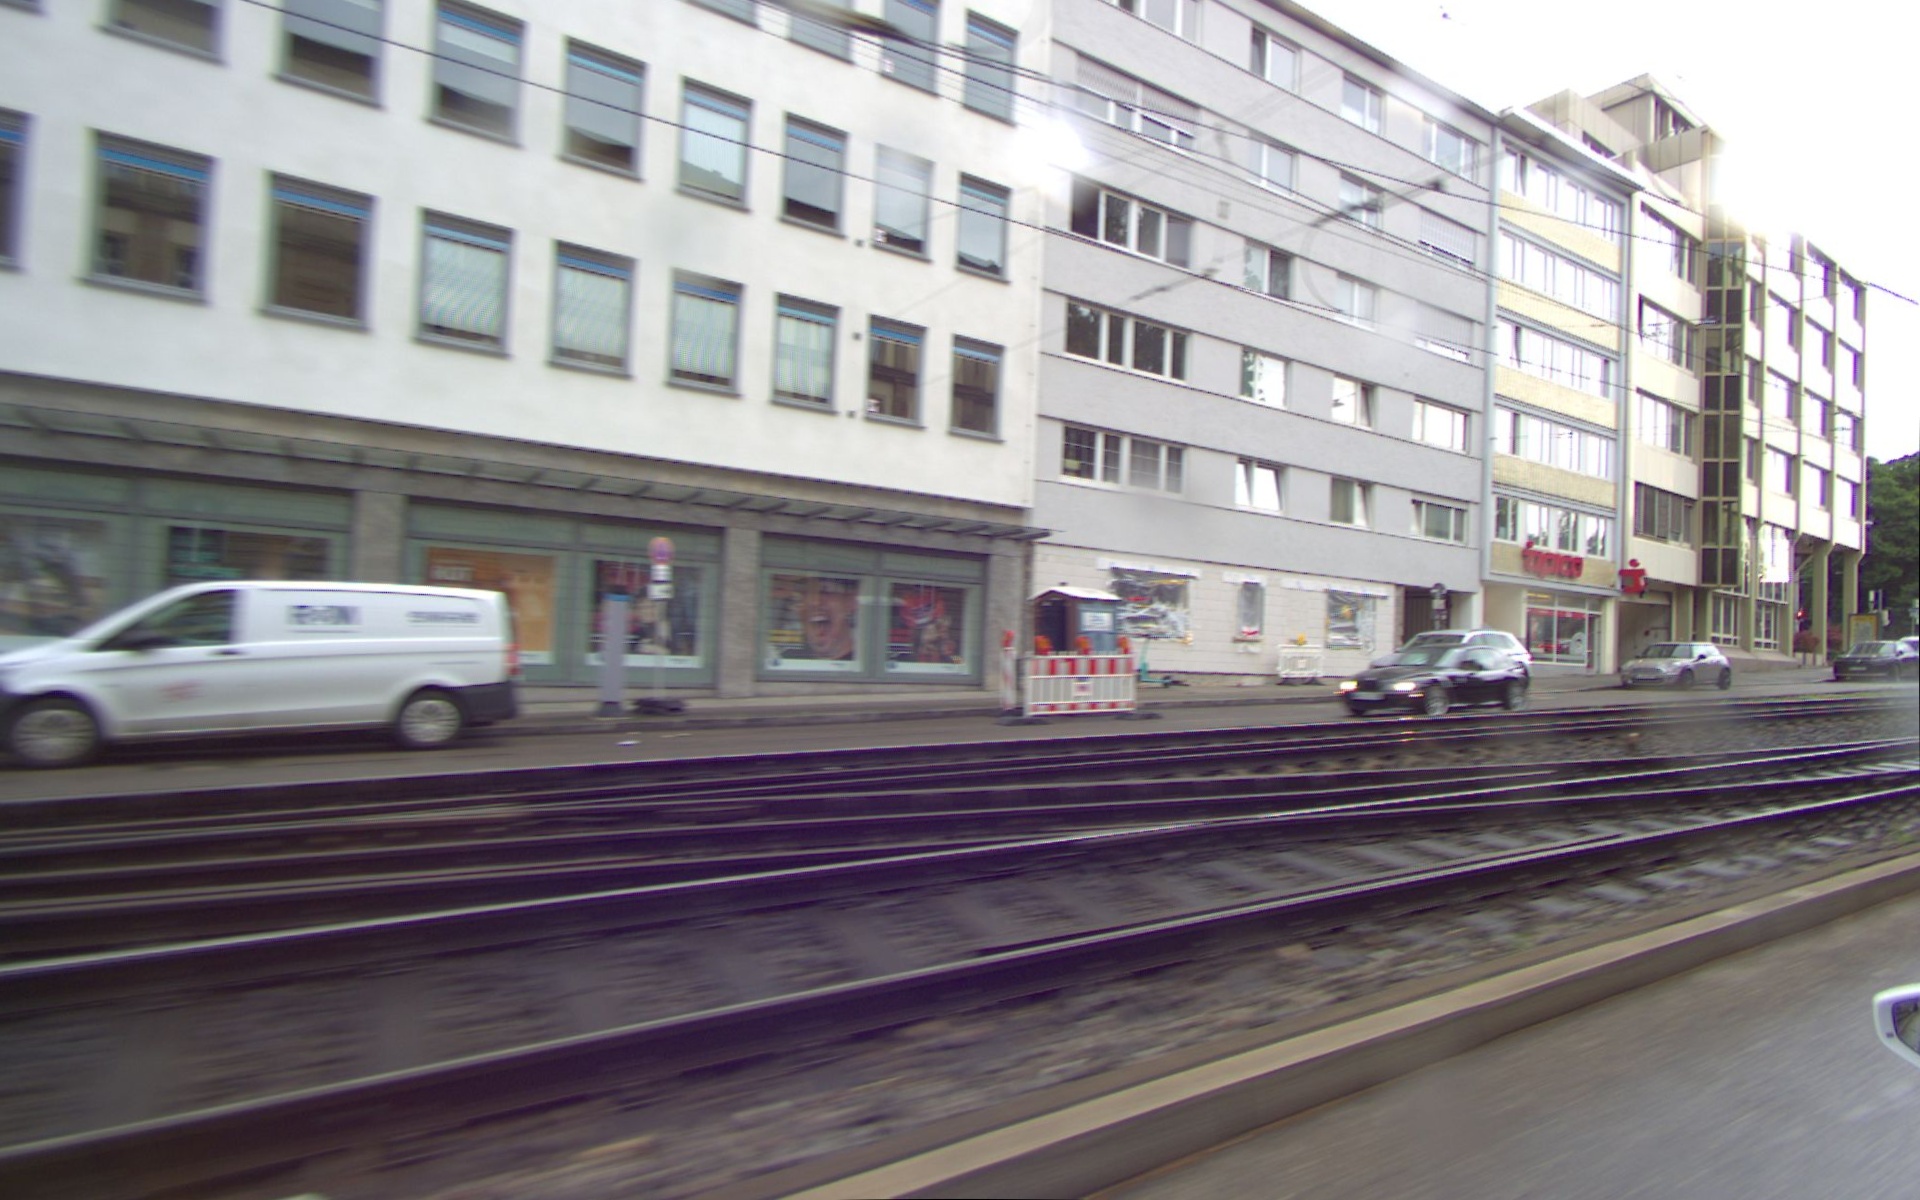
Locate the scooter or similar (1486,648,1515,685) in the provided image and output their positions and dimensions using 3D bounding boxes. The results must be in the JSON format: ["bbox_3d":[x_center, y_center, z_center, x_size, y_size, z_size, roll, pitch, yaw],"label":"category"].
[{"bbox_3d":[16.643,2.041,30.943,0.963,1.046,0.378,-1,1,-33],"label":"scooter or similar"}]

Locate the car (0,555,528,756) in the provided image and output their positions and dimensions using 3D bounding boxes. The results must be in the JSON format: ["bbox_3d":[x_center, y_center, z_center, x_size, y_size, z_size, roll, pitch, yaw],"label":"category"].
[{"bbox_3d":[-7.805,0.671,11.330,5.079,1.866,1.982,3,-5,-34],"label":"car"}]

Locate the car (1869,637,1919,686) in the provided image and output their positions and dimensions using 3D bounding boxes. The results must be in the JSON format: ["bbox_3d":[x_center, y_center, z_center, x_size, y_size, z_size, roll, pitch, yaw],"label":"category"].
[{"bbox_3d":[39.667,2.564,41.552,4.647,1.874,1.981,3,-1,-34],"label":"car"}]

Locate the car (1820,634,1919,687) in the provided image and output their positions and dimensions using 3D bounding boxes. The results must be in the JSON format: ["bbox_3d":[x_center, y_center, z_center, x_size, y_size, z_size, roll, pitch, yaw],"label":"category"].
[{"bbox_3d":[35.150,2.338,38.604,4.647,1.874,1.981,3,-1,-34],"label":"car"}]

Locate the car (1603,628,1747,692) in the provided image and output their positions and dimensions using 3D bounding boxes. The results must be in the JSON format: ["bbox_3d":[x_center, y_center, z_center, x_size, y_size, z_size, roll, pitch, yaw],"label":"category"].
[{"bbox_3d":[21.370,1.810,29.966,4.647,1.696,1.981,3,-1,-34],"label":"car"}]

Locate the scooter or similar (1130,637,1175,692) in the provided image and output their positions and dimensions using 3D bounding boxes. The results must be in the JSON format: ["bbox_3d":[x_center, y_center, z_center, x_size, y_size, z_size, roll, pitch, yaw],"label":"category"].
[{"bbox_3d":[4.420,1.485,23.070,0.963,1.218,0.378,3,-1,-33],"label":"scooter or similar"}]

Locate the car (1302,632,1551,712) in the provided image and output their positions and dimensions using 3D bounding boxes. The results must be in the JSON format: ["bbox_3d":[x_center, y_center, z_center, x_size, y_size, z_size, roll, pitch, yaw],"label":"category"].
[{"bbox_3d":[8.478,1.287,18.110,4.647,1.271,1.982,3,-4,-34],"label":"car"}]

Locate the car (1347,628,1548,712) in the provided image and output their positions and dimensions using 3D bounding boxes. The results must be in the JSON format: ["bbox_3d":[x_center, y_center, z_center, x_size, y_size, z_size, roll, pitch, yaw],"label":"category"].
[{"bbox_3d":[11.321,1.535,23.242,4.642,1.696,1.983,1,0,-31],"label":"car"}]
